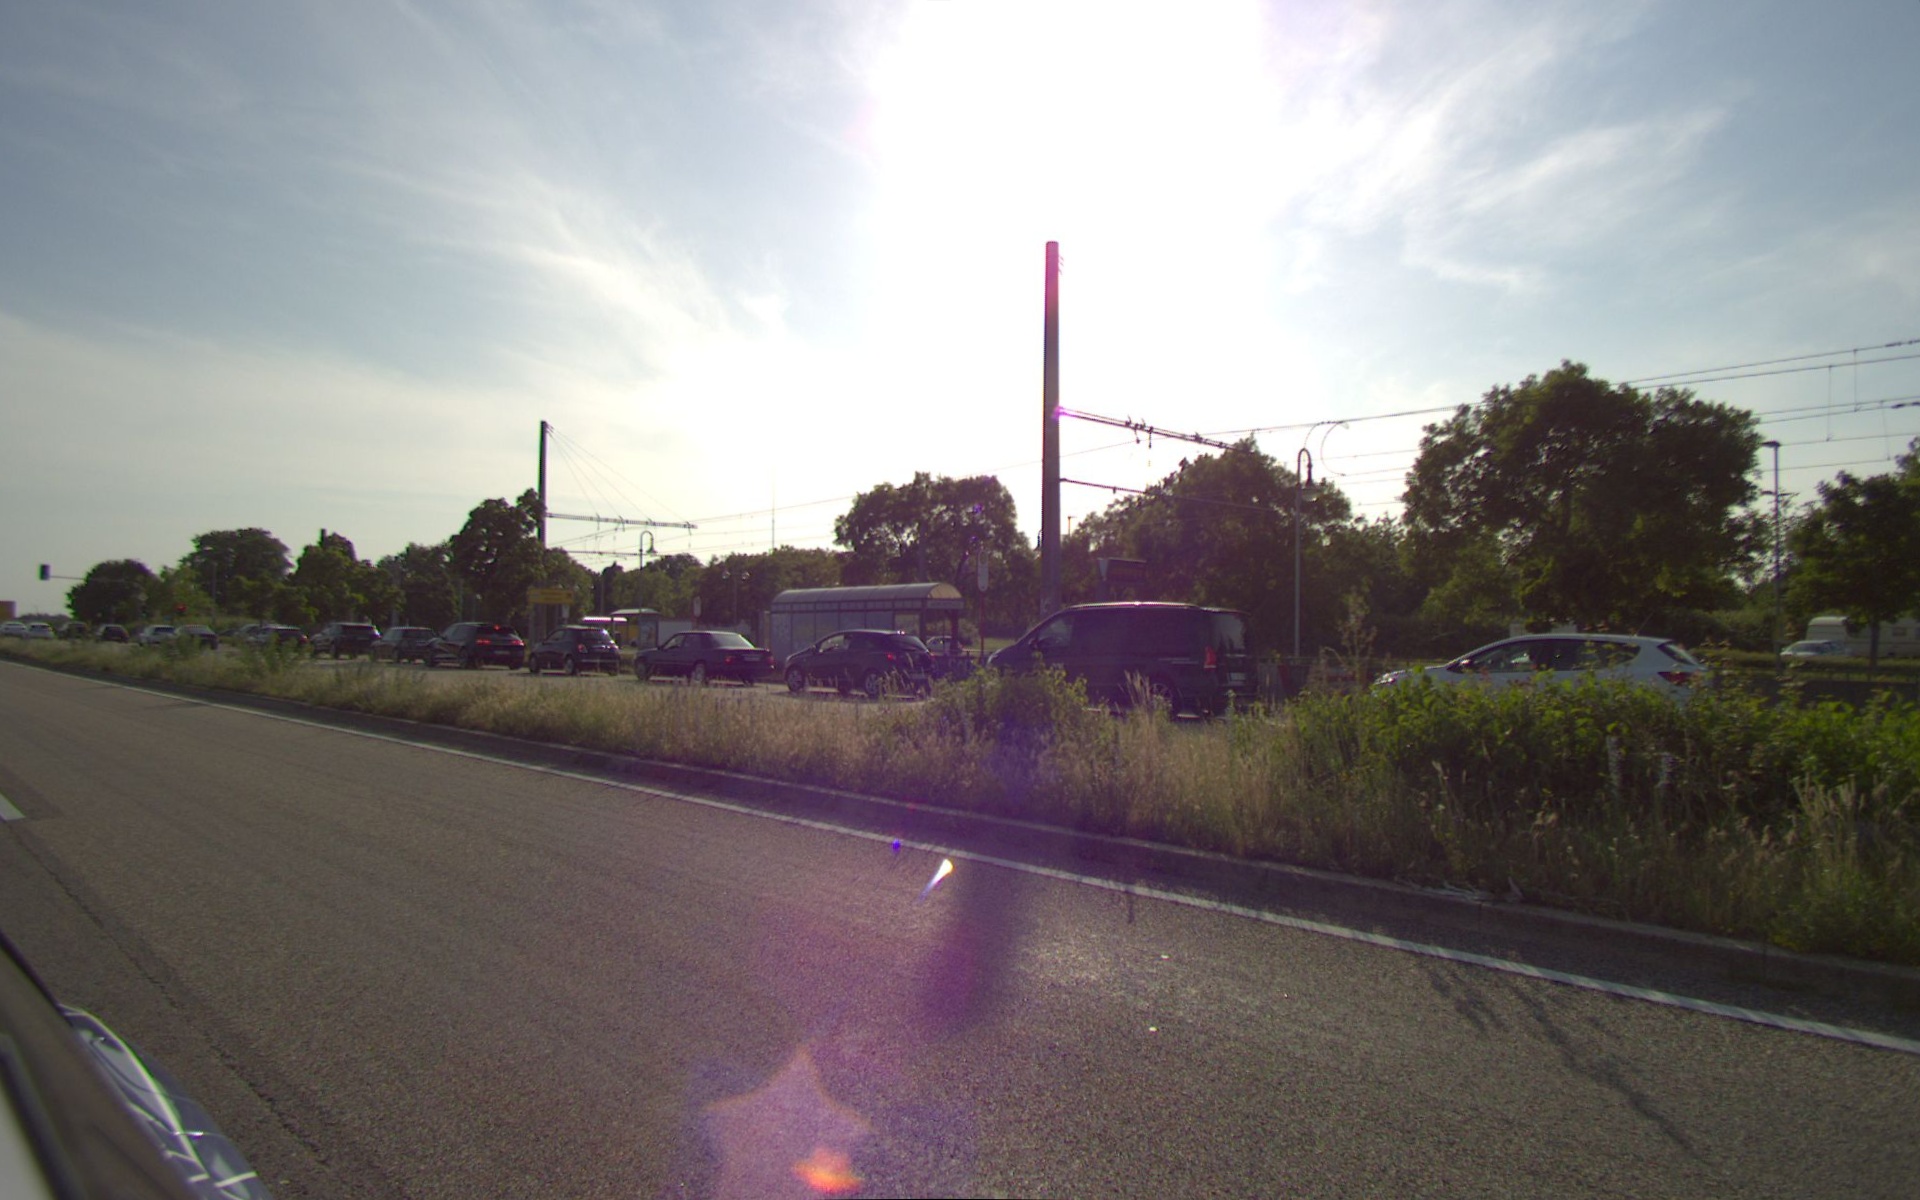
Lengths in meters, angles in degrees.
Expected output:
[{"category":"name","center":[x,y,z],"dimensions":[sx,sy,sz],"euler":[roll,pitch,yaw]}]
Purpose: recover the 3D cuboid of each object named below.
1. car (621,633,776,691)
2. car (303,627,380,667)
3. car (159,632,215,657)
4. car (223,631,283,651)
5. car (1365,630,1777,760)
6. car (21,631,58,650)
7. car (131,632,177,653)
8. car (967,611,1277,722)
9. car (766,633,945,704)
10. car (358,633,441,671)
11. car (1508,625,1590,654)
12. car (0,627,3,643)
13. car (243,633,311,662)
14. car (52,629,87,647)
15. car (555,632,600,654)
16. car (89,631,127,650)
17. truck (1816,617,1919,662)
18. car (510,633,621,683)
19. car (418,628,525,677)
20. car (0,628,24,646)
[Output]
[{"category":"car","center":[-7.138,1.641,27.391],"dimensions":[4.715,1.442,1.643],"euler":[-1,-4,41]},{"category":"car","center":[-27.645,2.094,45.184],"dimensions":[4.226,1.700,1.643],"euler":[-2,-4,41]},{"category":"car","center":[-46.498,2.665,60.845],"dimensions":[4.973,1.426,1.643],"euler":[-1,-4,41]},{"category":"car","center":[-76.446,4.408,109.478],"dimensions":[2.250,1.901,4.787],"euler":[-1,-1,36]},{"category":"car","center":[7.893,1.150,13.368],"dimensions":[4.446,1.442,1.643],"euler":[-1,-4,41]},{"category":"car","center":[-76.292,3.329,83.871],"dimensions":[4.292,1.481,1.799],"euler":[-2,-4,41]},{"category":"car","center":[-55.631,2.941,69.864],"dimensions":[4.466,1.391,1.643],"euler":[-1,-4,41]},{"category":"car","center":[2.730,1.125,17.994],"dimensions":[5.251,1.696,1.895],"euler":[-1,-4,41]},{"category":"car","center":[-2.408,1.495,22.670],"dimensions":[4.054,1.442,1.643],"euler":[-1,-4,41]},{"category":"car","center":[-22.343,2.051,40.269],"dimensions":[3.803,1.442,1.643],"euler":[-1,-4,41]},{"category":"car","center":[31.677,2.148,54.465],"dimensions":[3.562,1.377,1.739],"euler":[2,-4,-12]},{"category":"car","center":[-124.241,4.406,129.558],"dimensions":[5.077,1.988,1.972],"euler":[-2,-5,41]},{"category":"car","center":[-34.276,2.373,50.723],"dimensions":[4.539,1.391,1.643],"euler":[-1,-4,41]},{"category":"car","center":[-81.115,3.444,92.192],"dimensions":[3.998,1.602,1.778],"euler":[-2,-4,41]},{"category":"car","center":[-34.540,3.864,91.477],"dimensions":[1.822,1.892,3.648],"euler":[-1,-1,22]},{"category":"car","center":[-66.941,3.193,79.508],"dimensions":[3.998,1.391,1.643],"euler":[-1,-4,41]},{"category":"truck","center":[49.557,2.094,54.426],"dimensions":[5.890,2.265,2.004],"euler":[-1,-1,-10]},{"category":"car","center":[-12.368,1.795,31.639],"dimensions":[3.803,1.442,1.643],"euler":[-1,-4,41]},{"category":"car","center":[-16.985,1.804,35.076],"dimensions":[4.543,1.574,1.643],"euler":[-1,-4,41]},{"category":"car","center":[-84.906,3.270,90.102],"dimensions":[4.581,1.519,1.733],"euler":[-2,-4,42]}]
